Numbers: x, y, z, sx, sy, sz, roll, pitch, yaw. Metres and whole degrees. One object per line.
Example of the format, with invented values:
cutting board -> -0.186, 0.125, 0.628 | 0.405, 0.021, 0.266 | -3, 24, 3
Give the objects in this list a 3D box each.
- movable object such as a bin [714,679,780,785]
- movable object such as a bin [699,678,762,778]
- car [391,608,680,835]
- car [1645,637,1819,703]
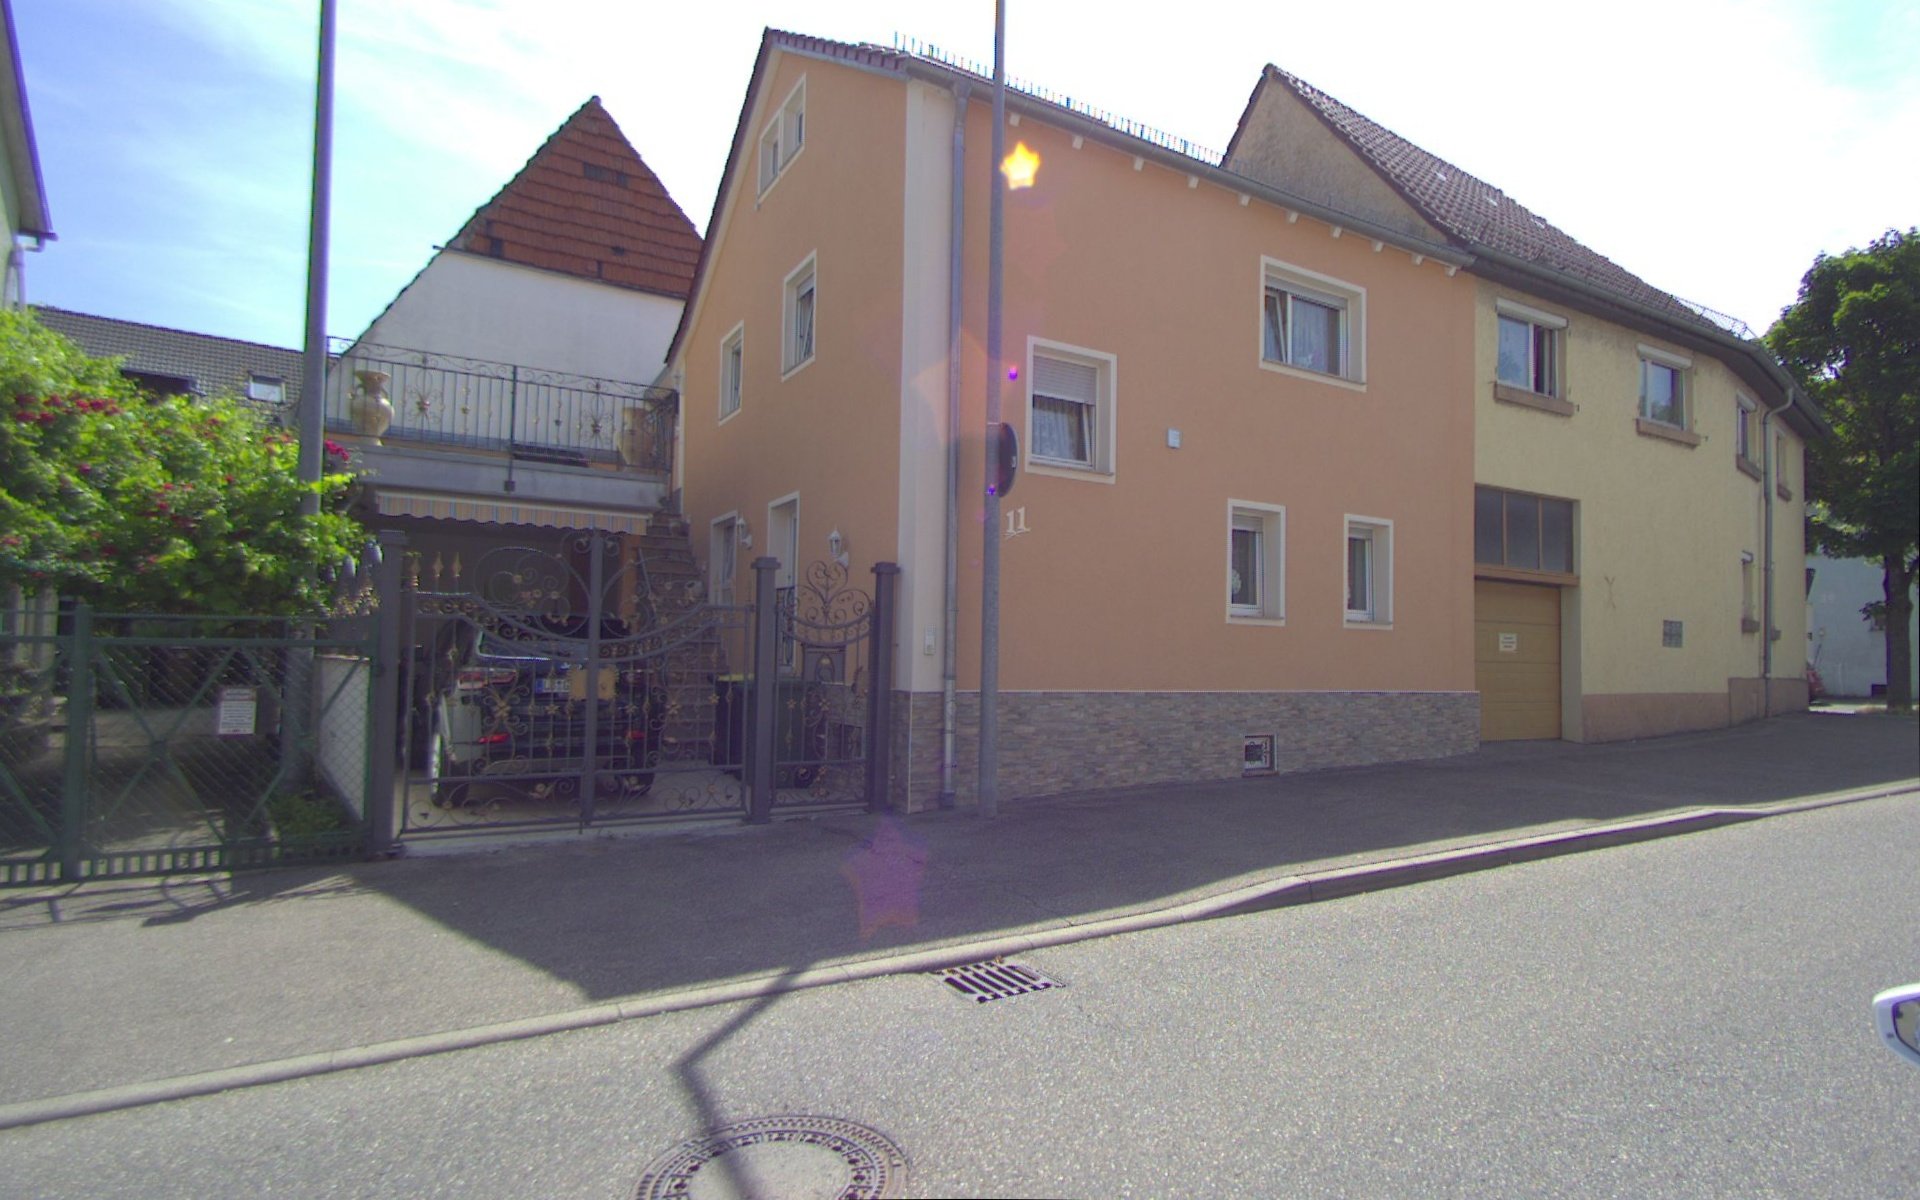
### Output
movable object such as a bin -> -2.178, 1.328, 10.255 | 0.528, 1.016, 0.524 | 1, -2, -29
movable object such as a bin -> -2.462, 1.353, 10.780 | 0.528, 1.009, 0.524 | 1, -2, -29
car -> -4.083, 0.961, 9.337 | 1.740, 1.653, 3.596 | 2, -3, -35
car -> 22.914, 2.022, 29.879 | 3.944, 1.773, 1.989 | -1, -3, 43
